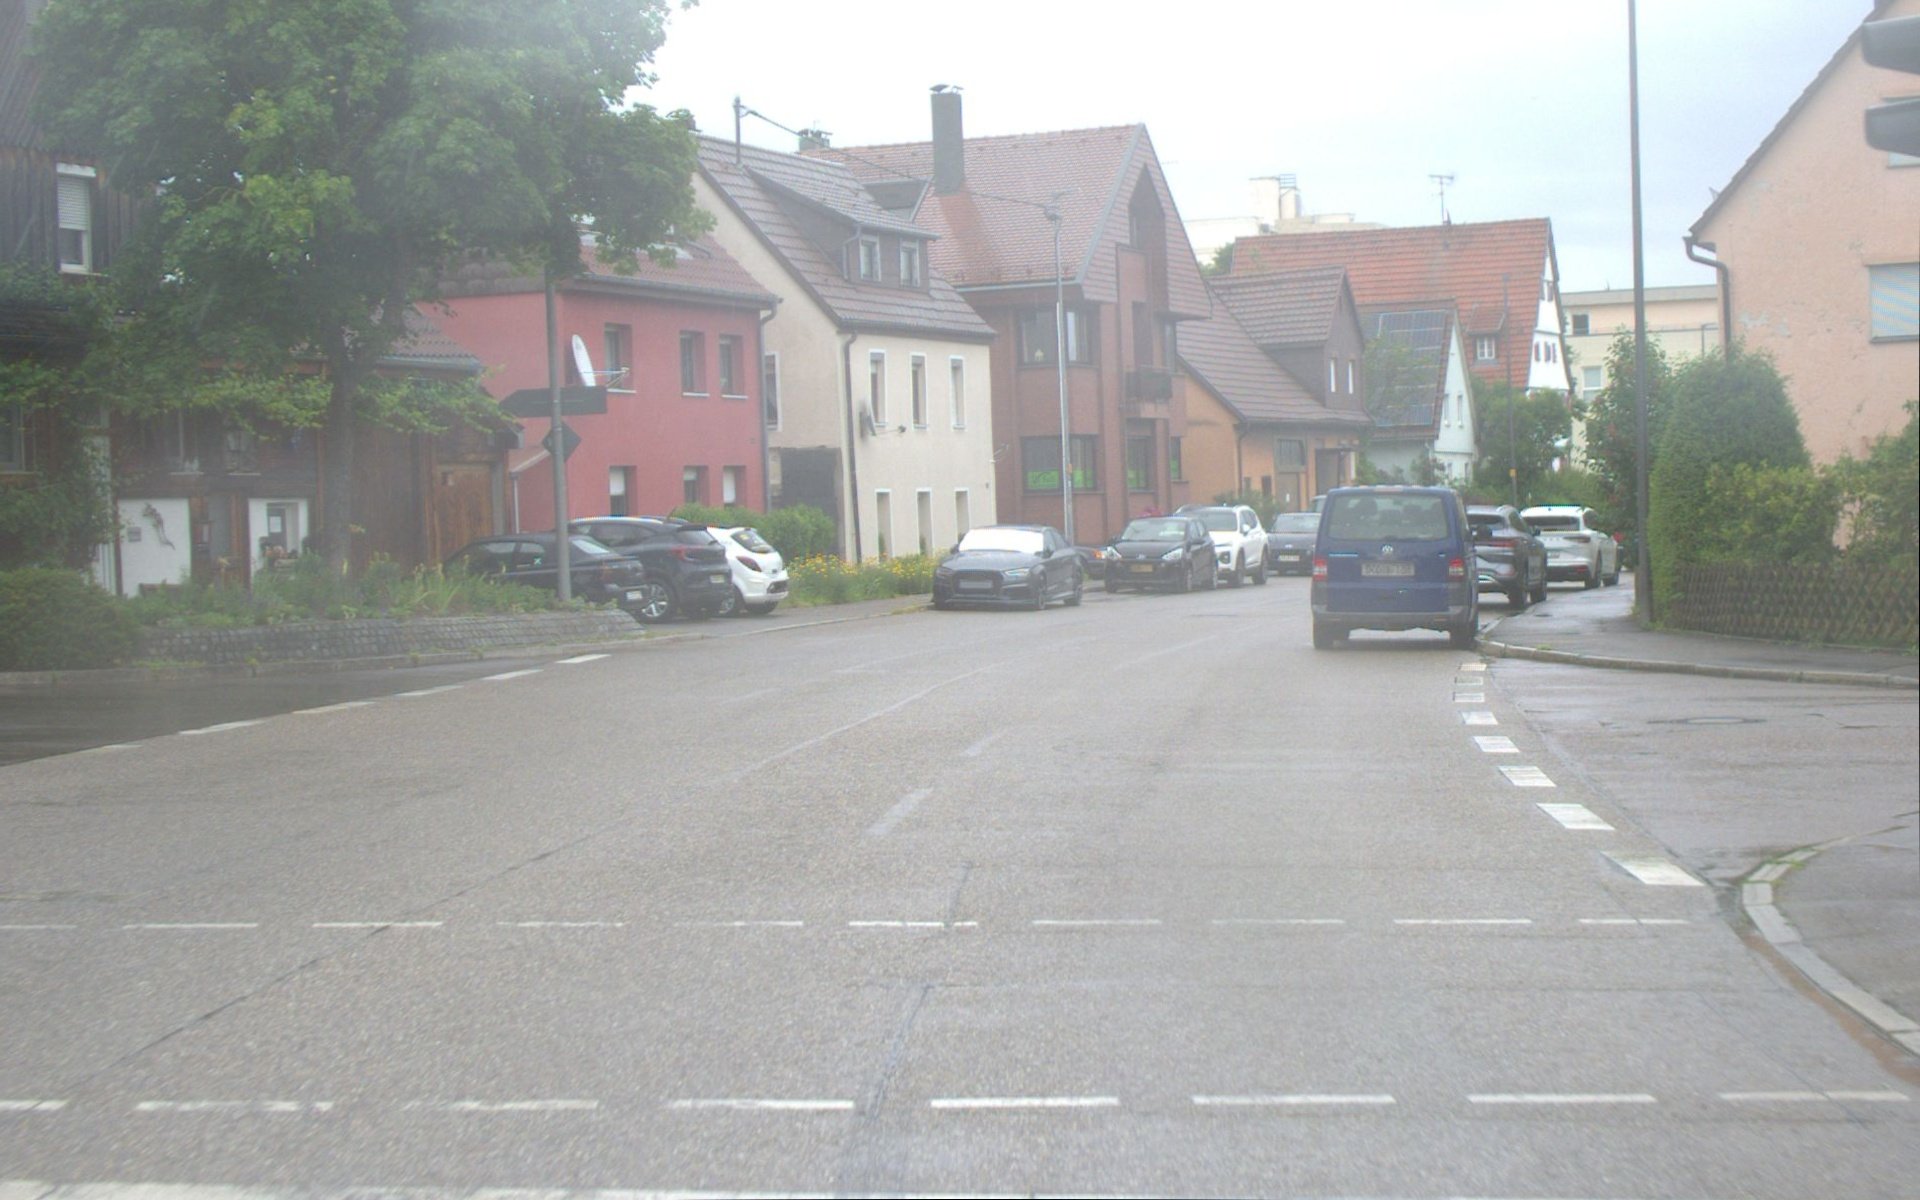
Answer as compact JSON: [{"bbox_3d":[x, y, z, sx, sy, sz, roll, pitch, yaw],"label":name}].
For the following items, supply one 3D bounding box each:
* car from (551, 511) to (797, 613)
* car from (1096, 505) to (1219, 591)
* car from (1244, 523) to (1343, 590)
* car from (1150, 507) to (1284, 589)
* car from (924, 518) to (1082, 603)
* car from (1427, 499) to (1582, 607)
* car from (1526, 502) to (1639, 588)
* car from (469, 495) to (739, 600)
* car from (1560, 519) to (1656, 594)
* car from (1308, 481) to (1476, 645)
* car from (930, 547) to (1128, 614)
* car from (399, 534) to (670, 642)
[{"bbox_3d":[-4.485,-0.605,54.053,3.464,1.474,1.589,-2,1,19],"label":"car"},{"bbox_3d":[3.910,-1.037,67.665,1.606,1.612,3.274,-2,1,17],"label":"car"},{"bbox_3d":[7.890,-1.040,81.047,1.579,1.492,3.564,-2,1,17],"label":"car"},{"bbox_3d":[5.422,-1.112,72.124,1.766,1.613,4.653,-2,1,17],"label":"car"},{"bbox_3d":[0.762,-0.691,57.639,1.628,1.351,4.108,1,2,16],"label":"car"},{"bbox_3d":[9.078,-0.816,57.074,1.910,1.711,4.552,1,2,17],"label":"car"},{"bbox_3d":[12.078,-1.079,66.507,1.804,1.589,4.609,0,1,15],"label":"car"},{"bbox_3d":[-5.347,-0.810,51.686,3.579,1.501,1.853,1,2,21],"label":"car"},{"bbox_3d":[15.777,-1.077,83.620,1.751,1.704,3.997,-2,1,18],"label":"car"},{"bbox_3d":[5.268,-0.487,42.259,1.931,1.896,4.793,0,1,6],"label":"car"},{"bbox_3d":[1.600,-0.451,79.734,4.177,1.398,1.787,-2,1,24],"label":"car"},{"bbox_3d":[-6.088,-0.174,49.264,3.449,1.413,1.631,-2,1,19],"label":"car"}]
